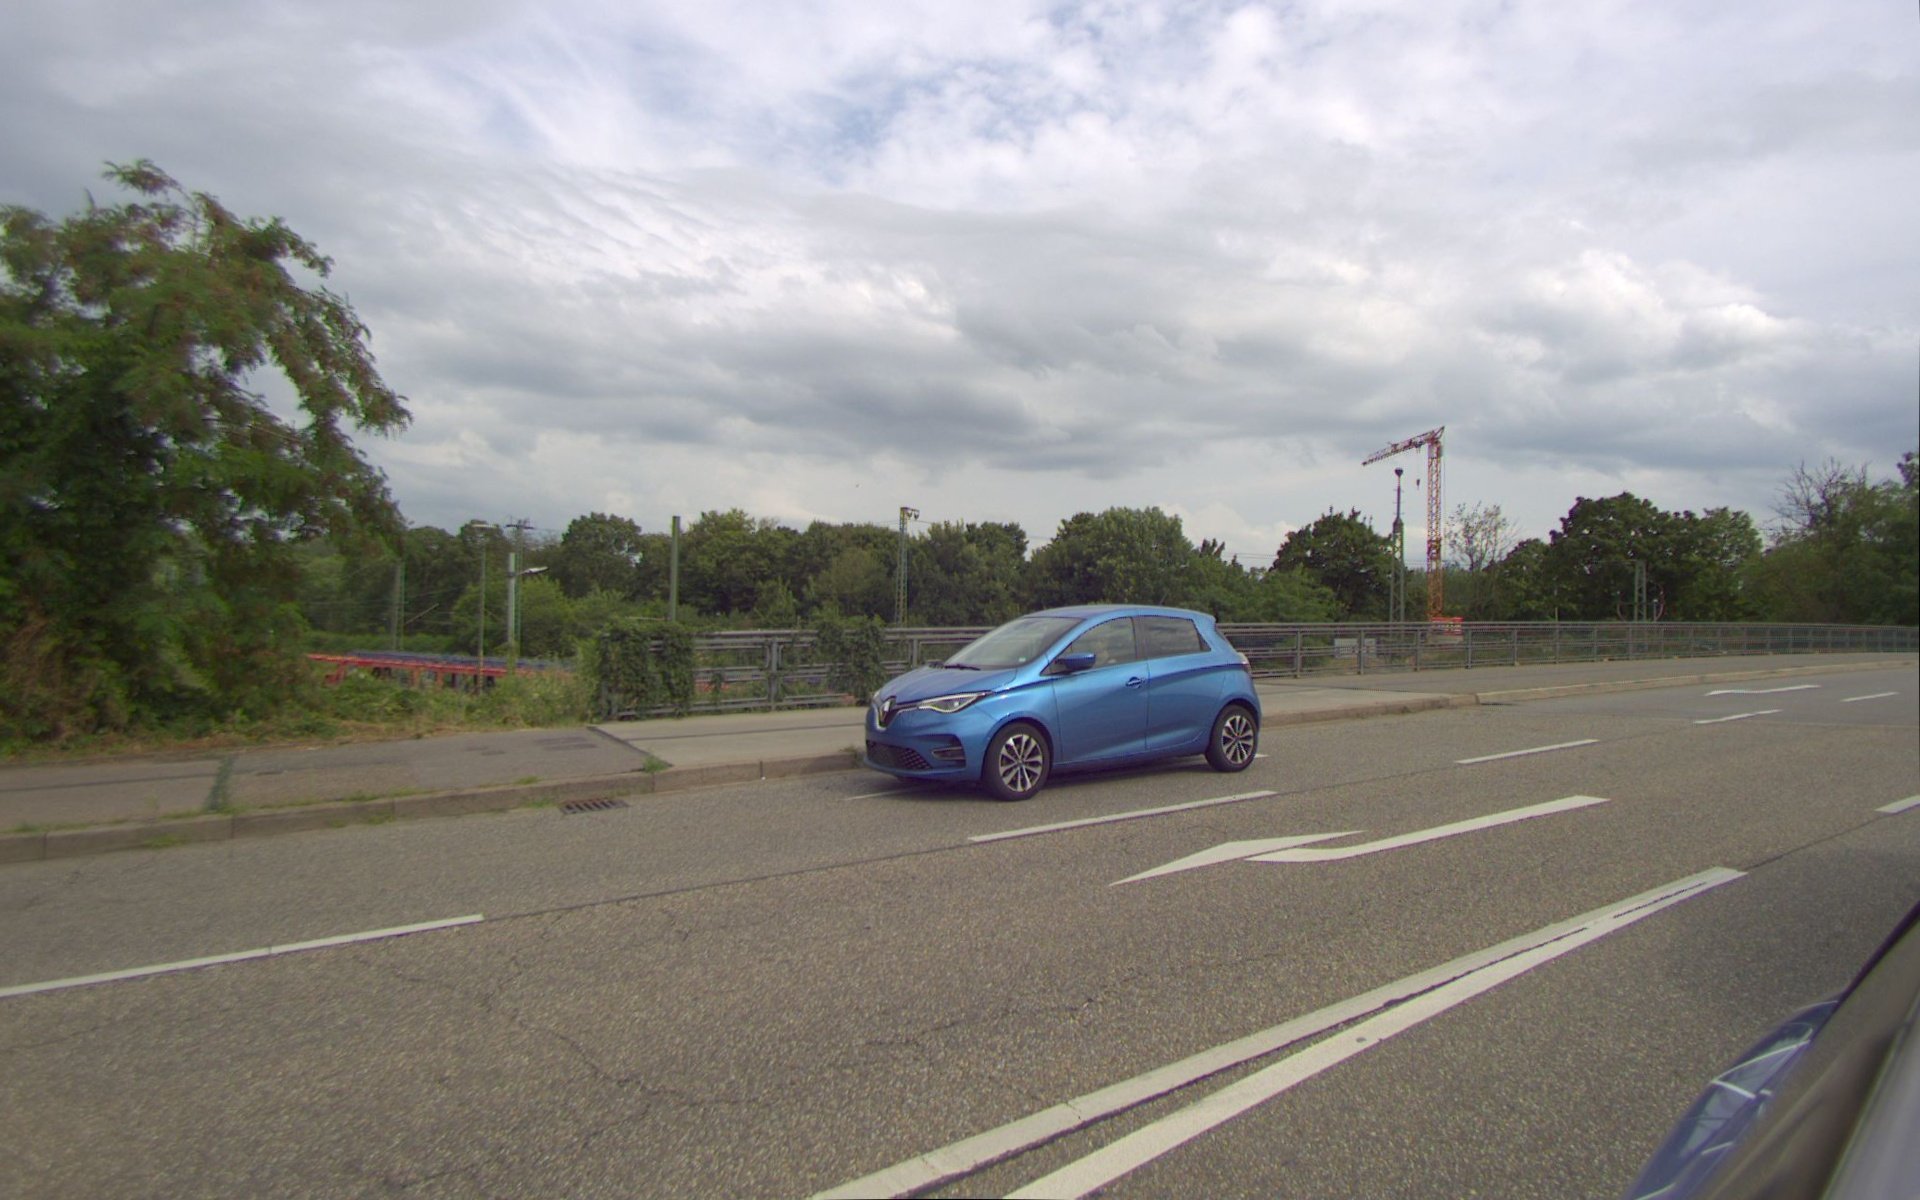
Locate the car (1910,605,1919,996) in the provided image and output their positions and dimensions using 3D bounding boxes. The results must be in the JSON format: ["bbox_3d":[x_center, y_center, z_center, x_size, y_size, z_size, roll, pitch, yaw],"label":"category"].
[{"bbox_3d":[5.802,0.706,4.157,4.639,1.381,1.854,0,0,-35],"label":"car"}]

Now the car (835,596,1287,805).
[{"bbox_3d":[0.987,0.767,9.287,3.872,1.541,1.727,0,-2,-33],"label":"car"}]
